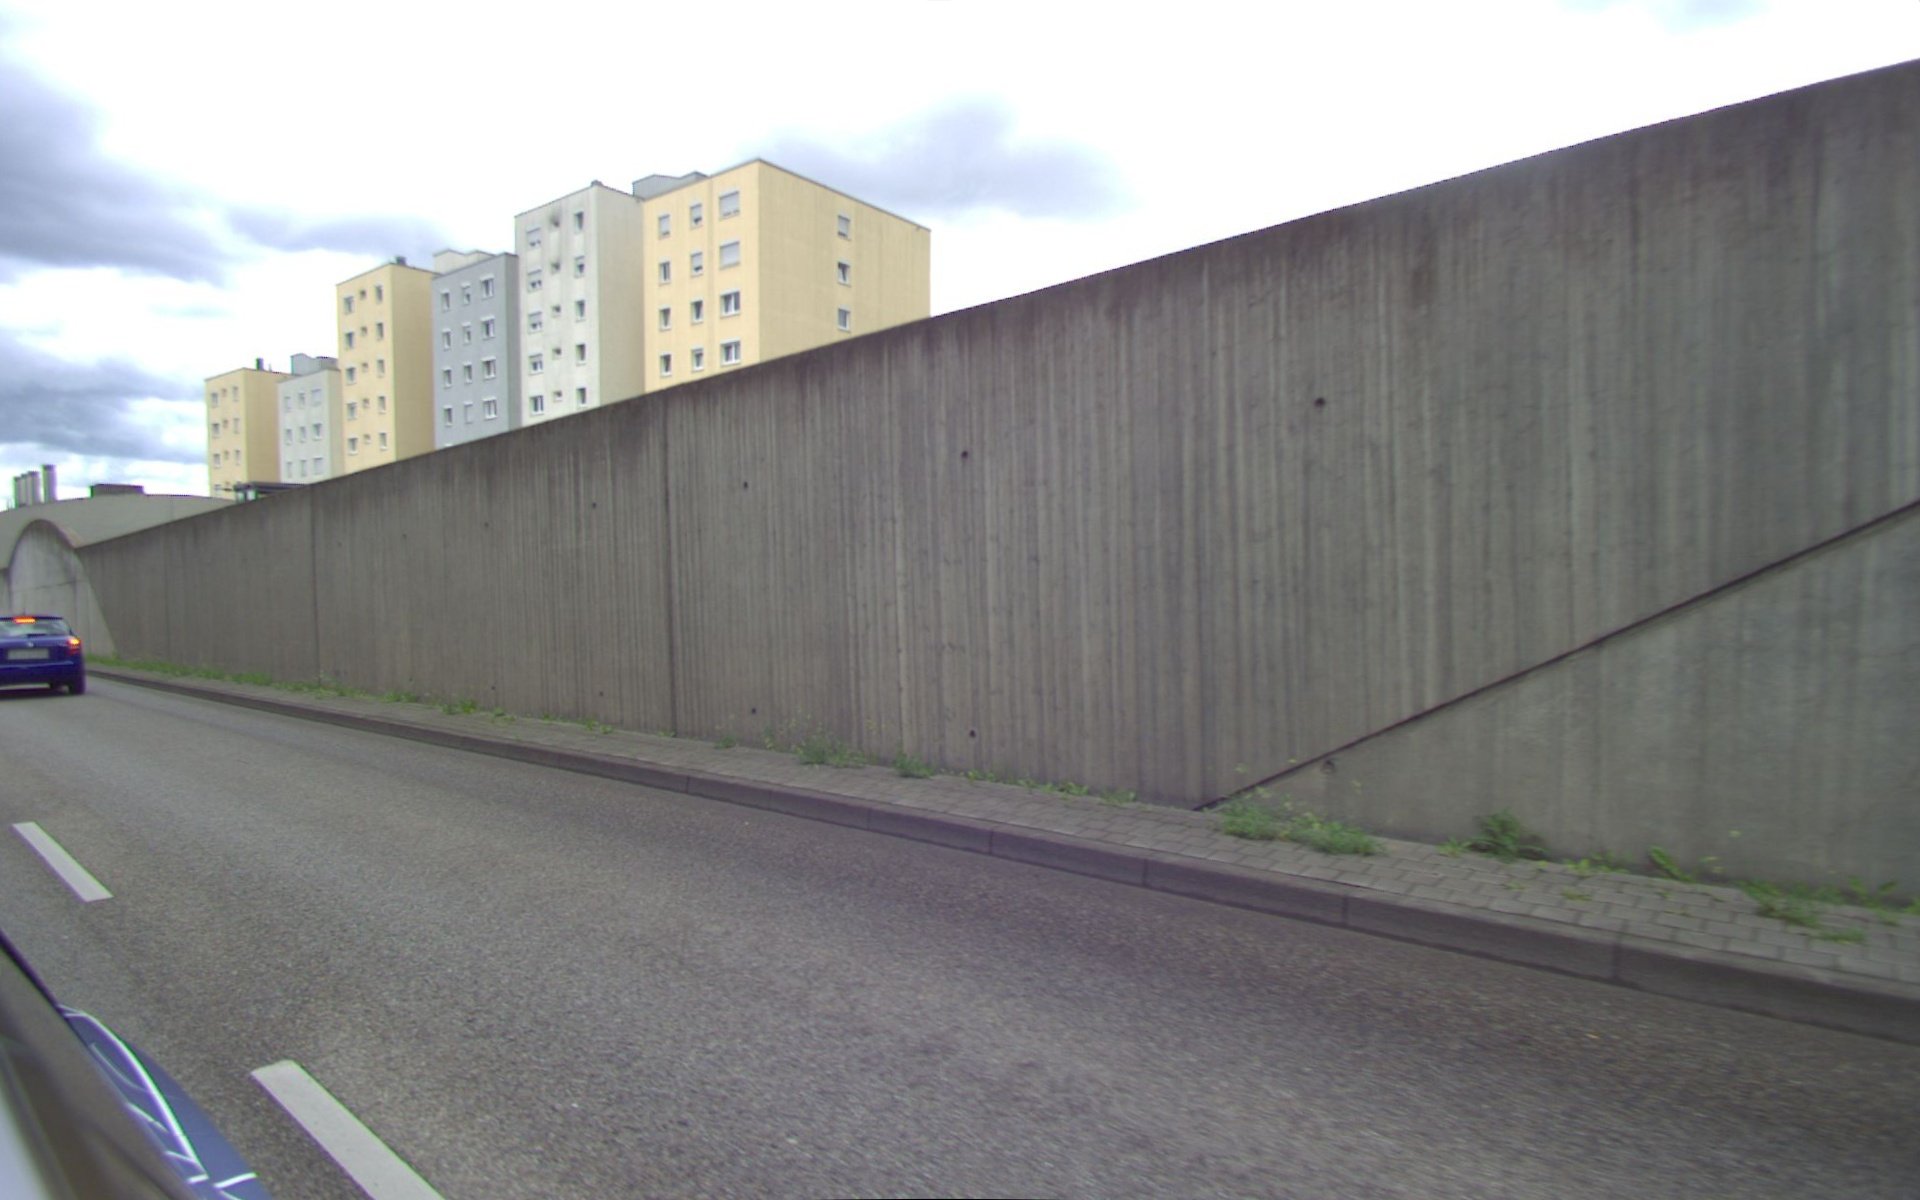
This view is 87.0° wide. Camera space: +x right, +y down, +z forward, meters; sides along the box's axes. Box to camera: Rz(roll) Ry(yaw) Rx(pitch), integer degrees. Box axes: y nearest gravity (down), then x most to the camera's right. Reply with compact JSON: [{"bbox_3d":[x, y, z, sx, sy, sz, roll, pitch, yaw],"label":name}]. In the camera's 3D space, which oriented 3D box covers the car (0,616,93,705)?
[{"bbox_3d":[-17.936,1.090,19.186,4.207,1.507,1.749,-1,0,42],"label":"car"}]
